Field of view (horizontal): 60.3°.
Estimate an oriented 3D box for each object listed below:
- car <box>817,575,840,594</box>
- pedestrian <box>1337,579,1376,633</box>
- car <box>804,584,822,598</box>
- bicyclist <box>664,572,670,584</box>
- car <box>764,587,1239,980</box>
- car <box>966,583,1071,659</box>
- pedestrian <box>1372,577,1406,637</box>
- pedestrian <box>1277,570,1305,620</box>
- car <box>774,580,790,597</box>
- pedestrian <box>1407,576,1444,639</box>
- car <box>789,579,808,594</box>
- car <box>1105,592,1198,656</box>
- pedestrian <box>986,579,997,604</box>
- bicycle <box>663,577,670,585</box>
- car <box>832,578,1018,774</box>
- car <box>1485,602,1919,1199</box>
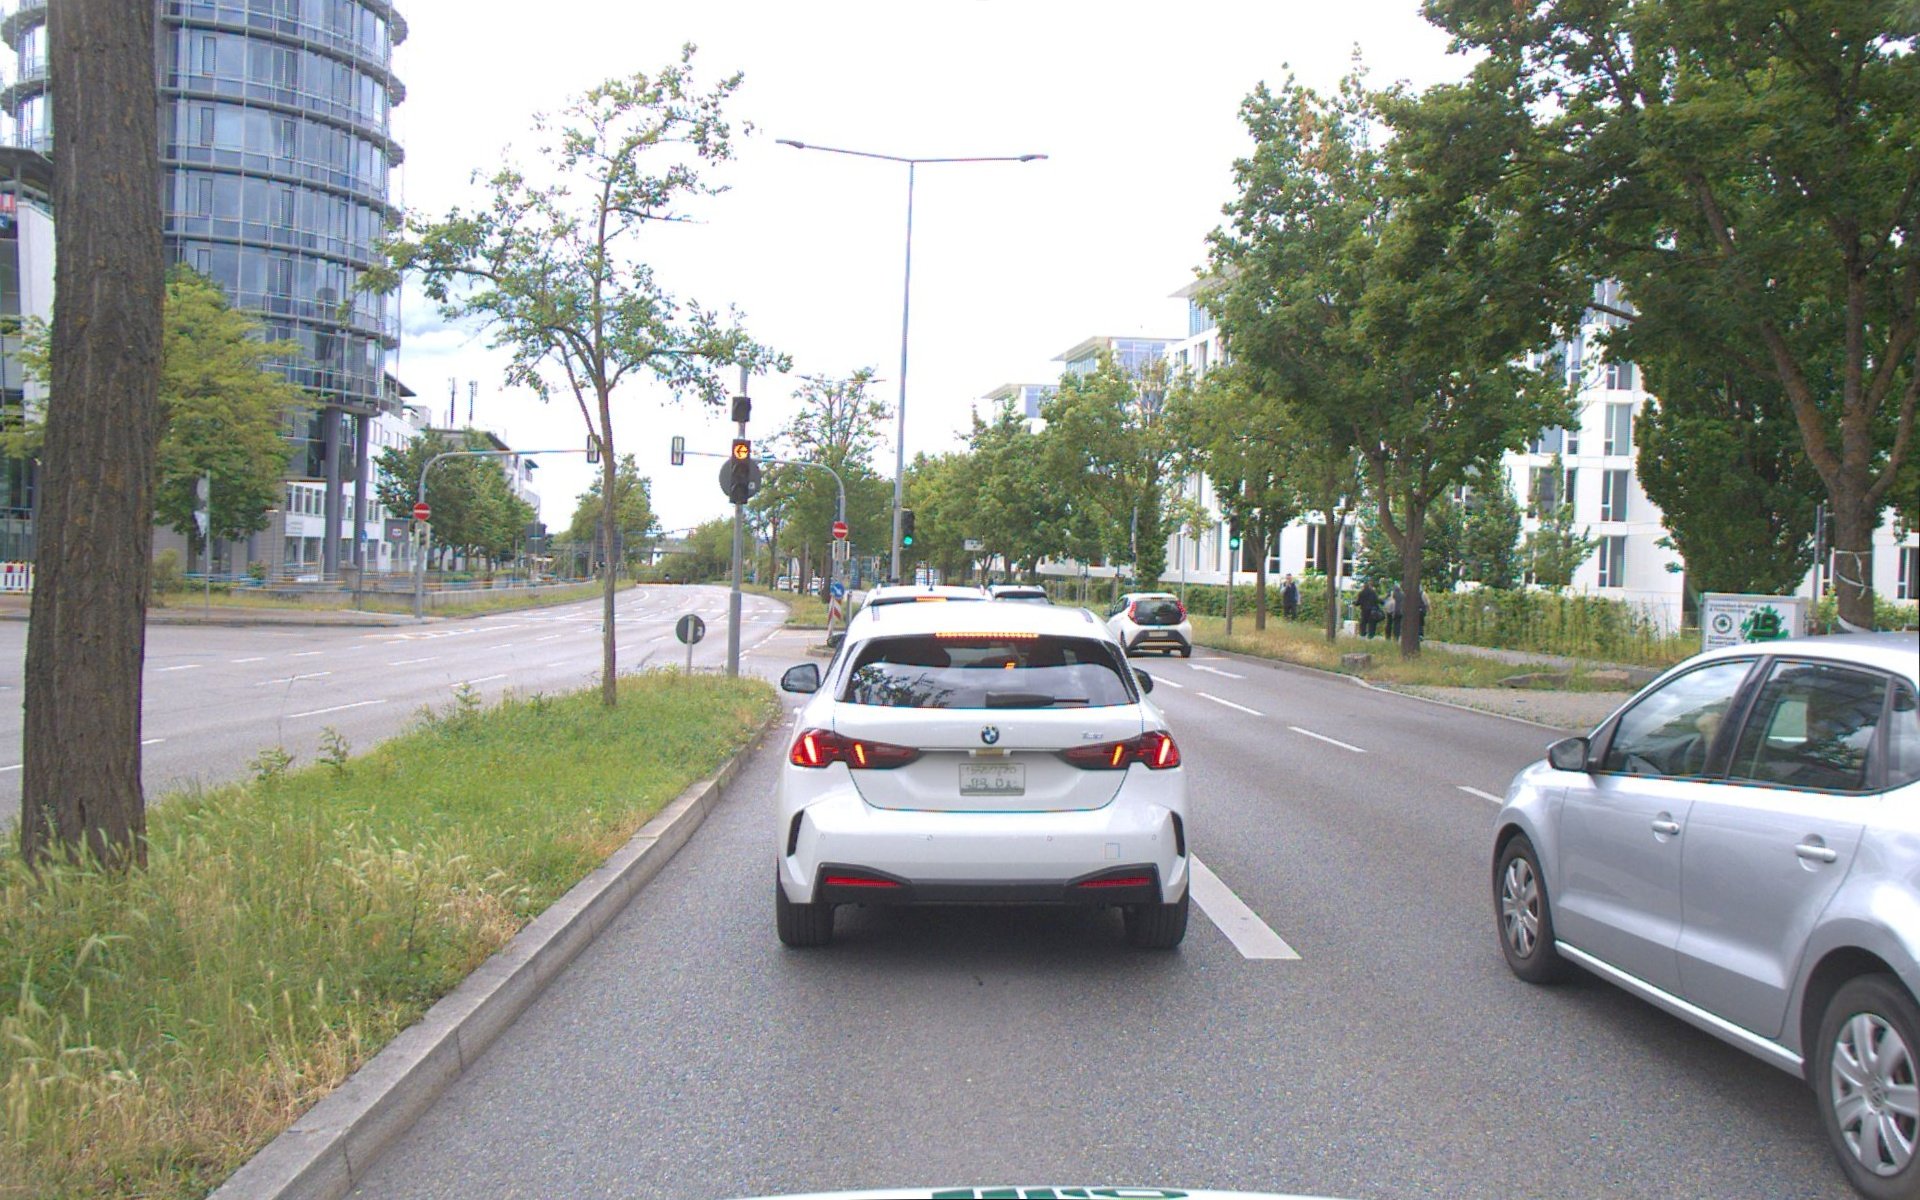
[{"bbox_3d":[-12.345,-1.460,154.876,1.955,1.699,3.994,0,0,-7],"label":"car"},{"bbox_3d":[10.990,0.174,45.918,0.773,1.473,1.111,1,0,-2],"label":"pedestrian"},{"bbox_3d":[-16.061,-0.991,180.134,1.661,1.512,3.686,1,0,-9],"label":"car"},{"bbox_3d":[-42.247,-3.143,238.400,0.795,1.681,1.187,1,0,-7],"label":"bicyclist"},{"bbox_3d":[0.134,0.694,8.327,1.785,1.463,3.999,1,0,-1],"label":"car"},{"bbox_3d":[1.292,0.448,38.340,1.855,1.623,4.308,1,0,-6],"label":"car"},{"bbox_3d":[11.811,0.187,45.546,0.685,1.623,0.883,1,0,-2],"label":"pedestrian"},{"bbox_3d":[10.674,-0.151,53.361,0.726,1.601,0.674,1,-1,-2],"label":"pedestrian"},{"bbox_3d":[-19.171,-1.196,178.348,1.663,1.747,3.994,1,0,-7],"label":"car"},{"bbox_3d":[12.826,0.204,45.577,0.751,1.715,0.883,1,-1,-2],"label":"pedestrian"},{"bbox_3d":[-19.947,-1.649,204.146,1.957,1.763,3.991,1,0,-10],"label":"car"},{"bbox_3d":[4.471,0.534,39.039,1.620,1.450,3.533,0,0,-3],"label":"car"},{"bbox_3d":[2.609,-0.697,136.221,0.749,2.049,0.751,1,-1,-16],"label":"pedestrian"},{"bbox_3d":[-42.252,-2.747,238.362,0.795,1.123,2.552,1,0,-7],"label":"bicycle"},{"bbox_3d":[-0.319,0.627,15.839,1.518,1.596,3.999,1,0,-1],"label":"car"},{"bbox_3d":[3.100,0.784,5.255,1.573,1.494,3.674,1,0,-2],"label":"car"}]
